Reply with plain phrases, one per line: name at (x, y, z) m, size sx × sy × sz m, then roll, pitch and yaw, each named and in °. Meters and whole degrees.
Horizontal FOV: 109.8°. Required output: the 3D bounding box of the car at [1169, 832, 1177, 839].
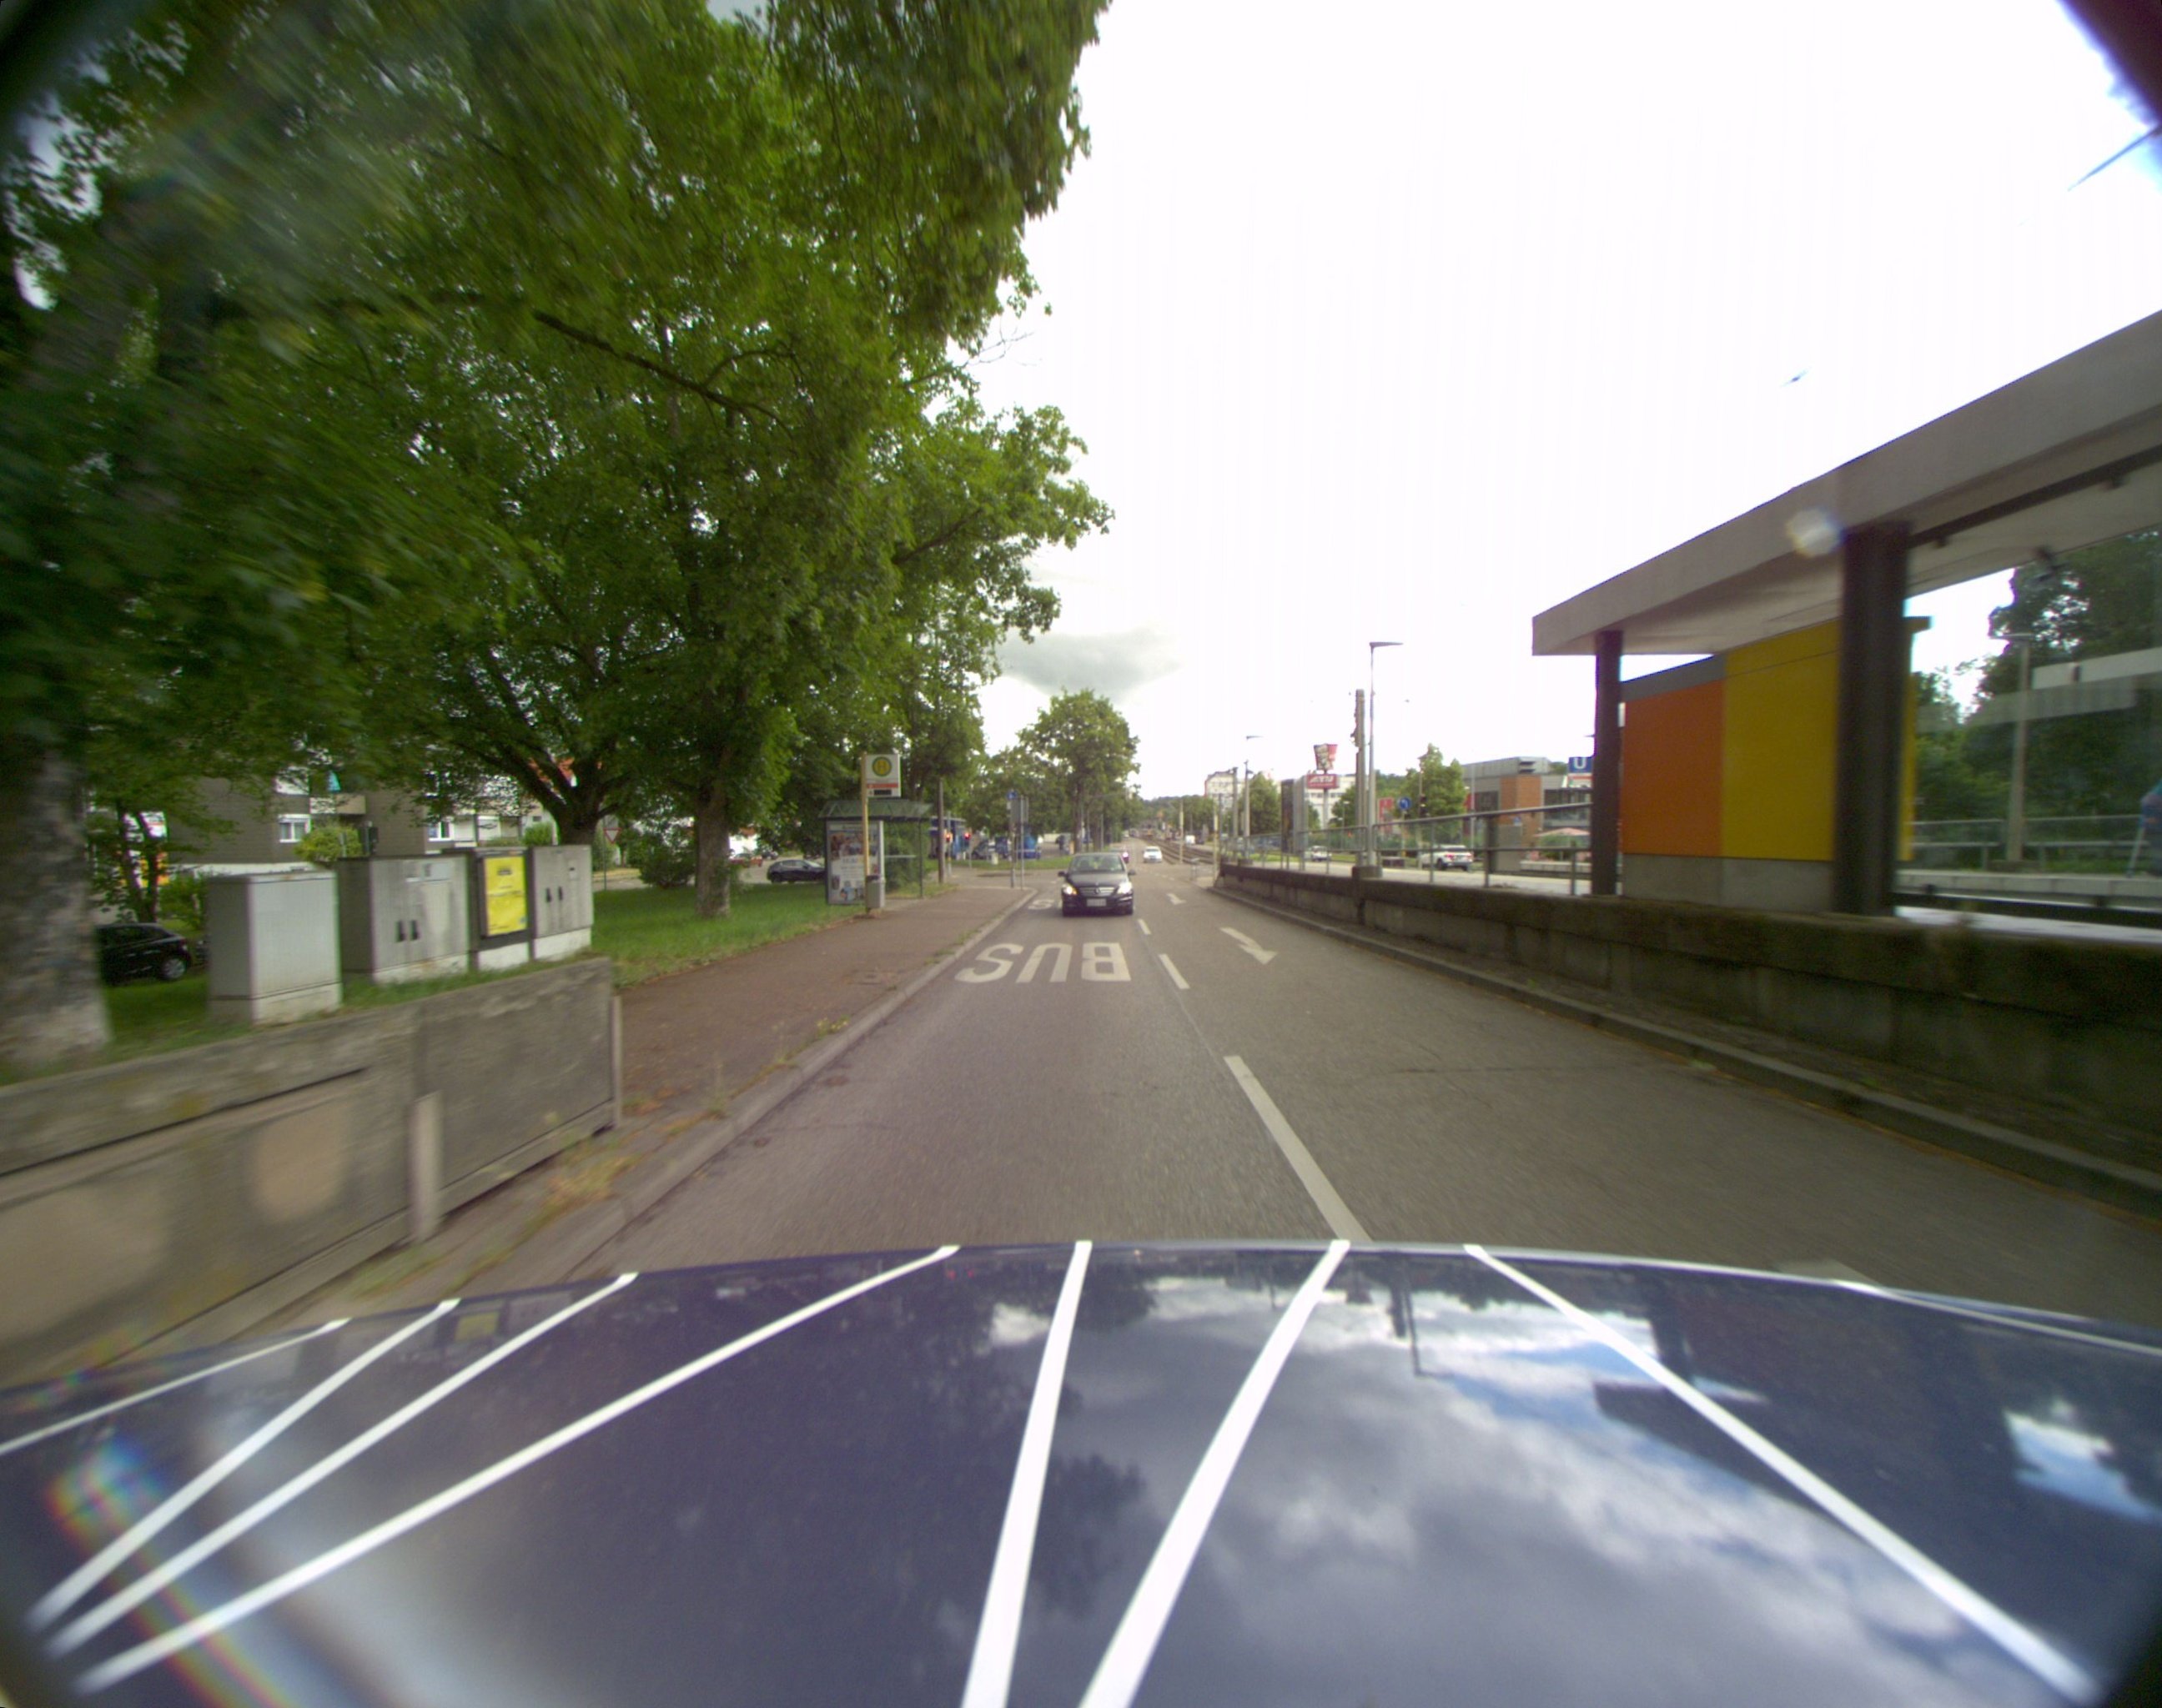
car at (28.460, -5.763, 235.157) m, size 1.999 × 2.002 × 3.998 m, roll 1°, pitch 2°, yaw 0°

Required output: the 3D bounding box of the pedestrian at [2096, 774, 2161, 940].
pedestrian at (14.649, 0.032, 10.092) m, size 0.972 × 2.173 × 0.976 m, roll -1°, pitch 2°, yaw 2°

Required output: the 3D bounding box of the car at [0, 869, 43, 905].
car at (-47.674, 1.456, 32.107) m, size 4.005 × 1.509 × 1.995 m, roll -2°, pitch 1°, yaw -28°

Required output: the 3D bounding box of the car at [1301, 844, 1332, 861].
car at (23.328, -0.170, 75.269) m, size 1.690 × 1.438 × 3.998 m, roll 1°, pitch 2°, yaw -2°

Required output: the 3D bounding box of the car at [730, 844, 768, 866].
car at (-30.222, 0.089, 69.291) m, size 1.620 × 1.832 × 3.922 m, roll -3°, pitch 2°, yaw 1°

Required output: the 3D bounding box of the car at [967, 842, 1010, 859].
car at (-9.654, -0.399, 79.492) m, size 4.215 × 1.687 × 1.837 m, roll 0°, pitch 1°, yaw -16°

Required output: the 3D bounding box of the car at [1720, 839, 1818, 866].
car at (40.083, -0.107, 44.328) m, size 3.996 × 1.543 × 1.847 m, roll 0°, pitch 2°, yaw 2°

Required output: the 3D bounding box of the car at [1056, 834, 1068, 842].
car at (-4.190, -3.467, 167.691) m, size 1.998 × 1.629 × 4.326 m, roll 2°, pitch 2°, yaw 4°

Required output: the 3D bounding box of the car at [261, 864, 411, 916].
car at (-30.764, 1.441, 31.569) m, size 4.006 × 1.756 × 1.995 m, roll -4°, pitch 2°, yaw -32°

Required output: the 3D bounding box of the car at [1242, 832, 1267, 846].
car at (35.692, -3.145, 156.405) m, size 4.480 × 2.733 × 2.288 m, roll 1°, pitch 2°, yaw 3°

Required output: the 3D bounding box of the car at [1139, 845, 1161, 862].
car at (6.494, -0.069, 71.493) m, size 1.786 × 1.436 × 3.999 m, roll -3°, pitch 2°, yaw 2°

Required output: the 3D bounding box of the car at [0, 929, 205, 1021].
car at (-21.110, 2.467, 15.806) m, size 1.627 × 1.239 × 3.853 m, roll -3°, pitch 2°, yaw -10°

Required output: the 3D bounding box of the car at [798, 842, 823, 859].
car at (-32.356, -0.484, 90.833) m, size 1.948 × 1.832 × 4.247 m, roll -3°, pitch 2°, yaw -9°

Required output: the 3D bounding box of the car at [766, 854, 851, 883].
car at (-15.198, 0.783, 42.482) m, size 4.159 × 1.517 × 1.705 m, roll 0°, pitch 2°, yaw 9°

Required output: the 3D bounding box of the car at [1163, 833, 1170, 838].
car at (27.879, -6.070, 248.266) m, size 1.788 × 1.573 × 4.479 m, roll 1°, pitch 2°, yaw -2°

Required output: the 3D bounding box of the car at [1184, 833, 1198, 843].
car at (23.843, -3.476, 164.988) m, size 1.999 × 2.002 × 4.883 m, roll 0°, pitch 2°, yaw -2°

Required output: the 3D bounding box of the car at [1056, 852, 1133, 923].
car at (0.438, 0.786, 19.752) m, size 1.786 × 1.614 × 4.000 m, roll 0°, pitch 1°, yaw 4°

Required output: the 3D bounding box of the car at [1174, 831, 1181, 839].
car at (32.560, -6.384, 255.529) m, size 1.873 × 2.485 × 5.999 m, roll 1°, pitch 2°, yaw 3°

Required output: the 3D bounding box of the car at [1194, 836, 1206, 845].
car at (27.358, -3.056, 174.547) m, size 1.999 × 2.002 × 4.105 m, roll 0°, pitch 2°, yaw 0°

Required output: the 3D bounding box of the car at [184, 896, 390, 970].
car at (-21.953, 2.110, 21.300) m, size 1.665 × 1.453 × 4.285 m, roll -3°, pitch 2°, yaw -10°

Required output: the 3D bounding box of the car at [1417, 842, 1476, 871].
car at (23.662, 0.116, 49.362) m, size 1.714 × 1.741 × 4.398 m, roll 0°, pitch 2°, yaw 1°

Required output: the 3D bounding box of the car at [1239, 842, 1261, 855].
car at (20.538, -0.651, 92.666) m, size 1.599 × 1.438 × 4.051 m, roll 1°, pitch 2°, yaw -3°

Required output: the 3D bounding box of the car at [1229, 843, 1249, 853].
car at (24.183, -0.875, 116.298) m, size 1.999 × 1.473 × 4.506 m, roll 2°, pitch 1°, yaw 0°
